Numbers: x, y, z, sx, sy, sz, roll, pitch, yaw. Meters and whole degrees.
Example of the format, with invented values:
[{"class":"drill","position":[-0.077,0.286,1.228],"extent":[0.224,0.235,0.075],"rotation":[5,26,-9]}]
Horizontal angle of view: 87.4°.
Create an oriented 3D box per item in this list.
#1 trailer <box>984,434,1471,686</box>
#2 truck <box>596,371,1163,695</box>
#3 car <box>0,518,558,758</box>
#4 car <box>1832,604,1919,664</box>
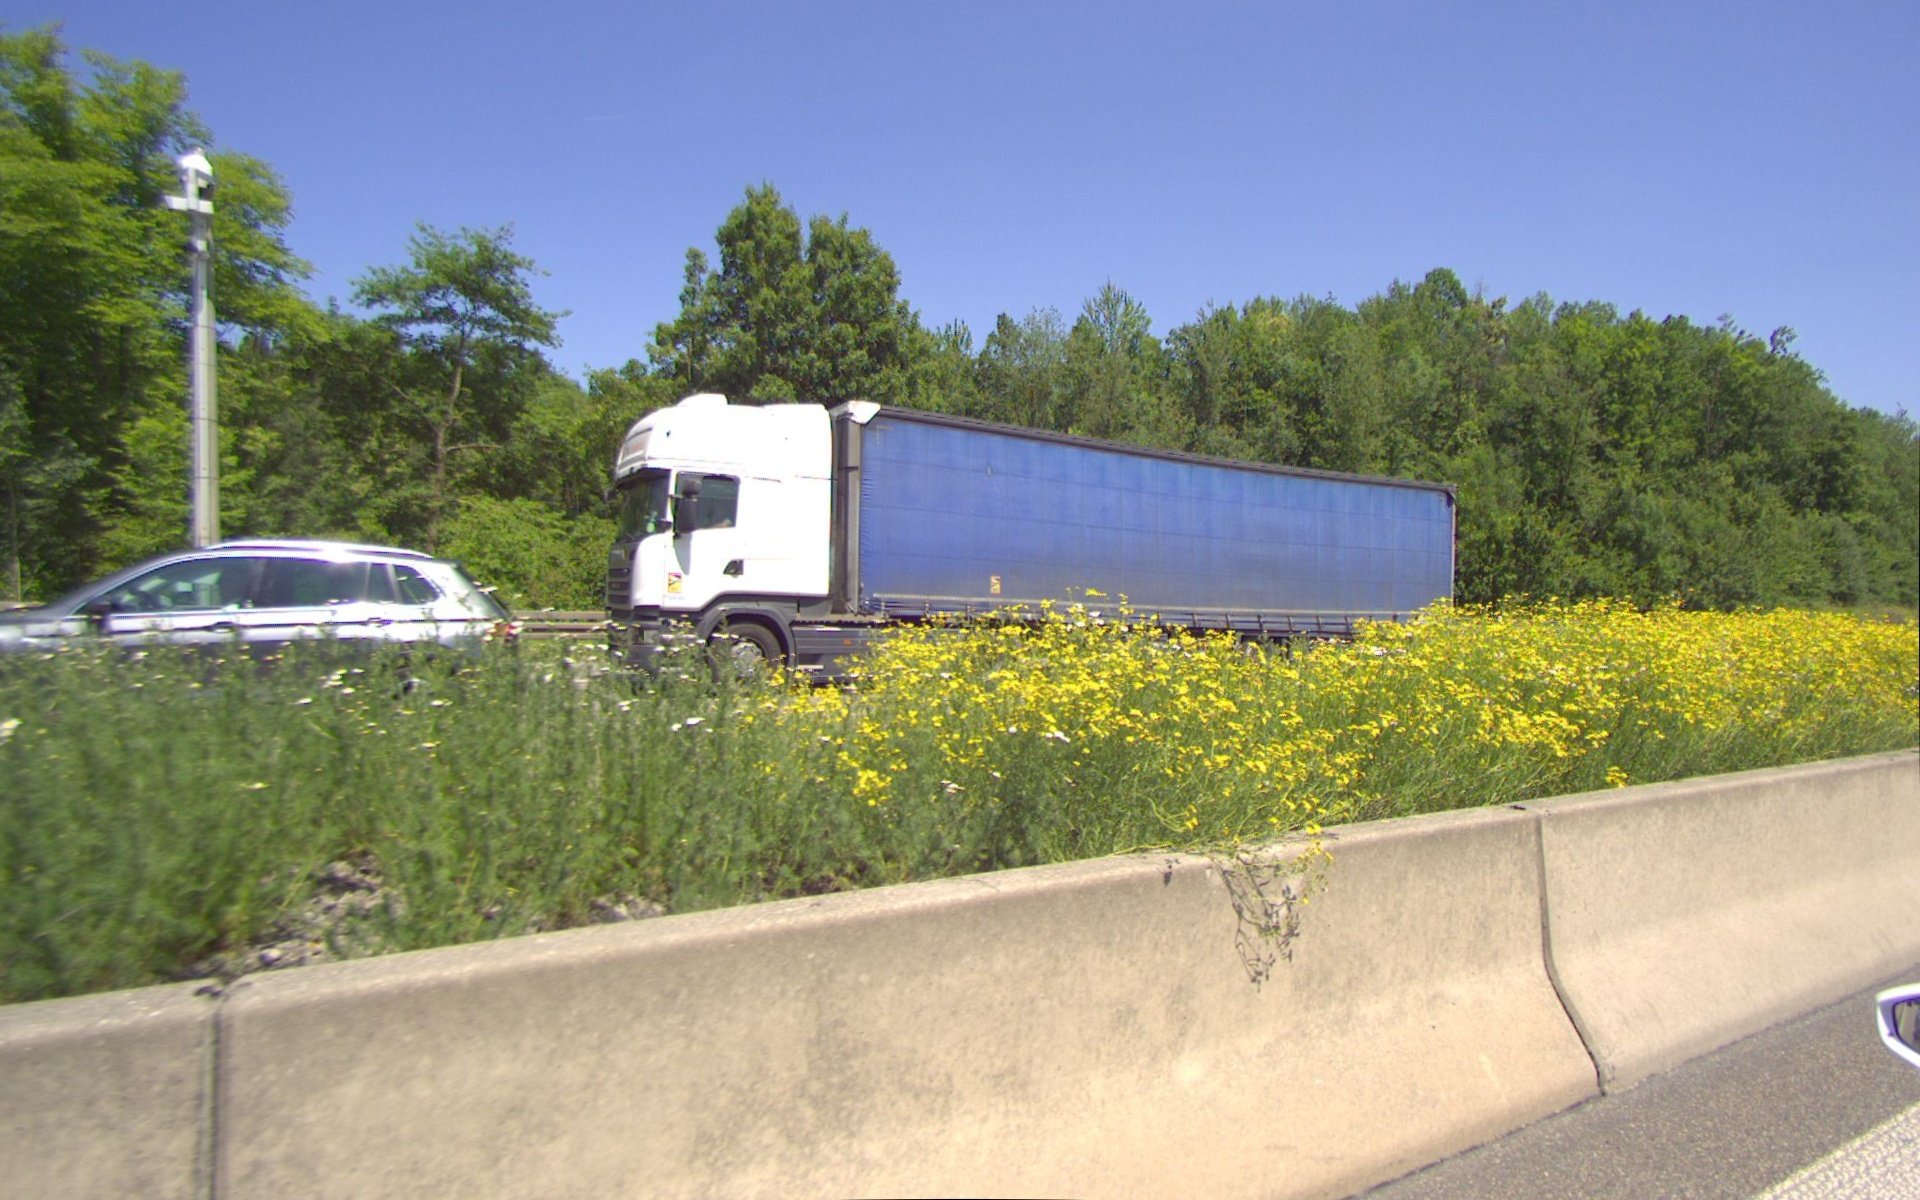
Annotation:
[{"class":"trailer","position":[5.463,-0.546,19.312],"extent":[10.052,3.908,2.767],"rotation":[1,0,-31]},{"class":"truck","position":[-0.976,-0.747,15.454],"extent":[8.315,3.908,2.734],"rotation":[1,0,-31]},{"class":"car","position":[-5.831,0.264,8.065],"extent":[4.585,1.582,1.984],"rotation":[2,0,-31]},{"class":"car","position":[27.414,0.959,28.856],"extent":[4.742,1.550,2.127],"rotation":[1,1,-30]}]
